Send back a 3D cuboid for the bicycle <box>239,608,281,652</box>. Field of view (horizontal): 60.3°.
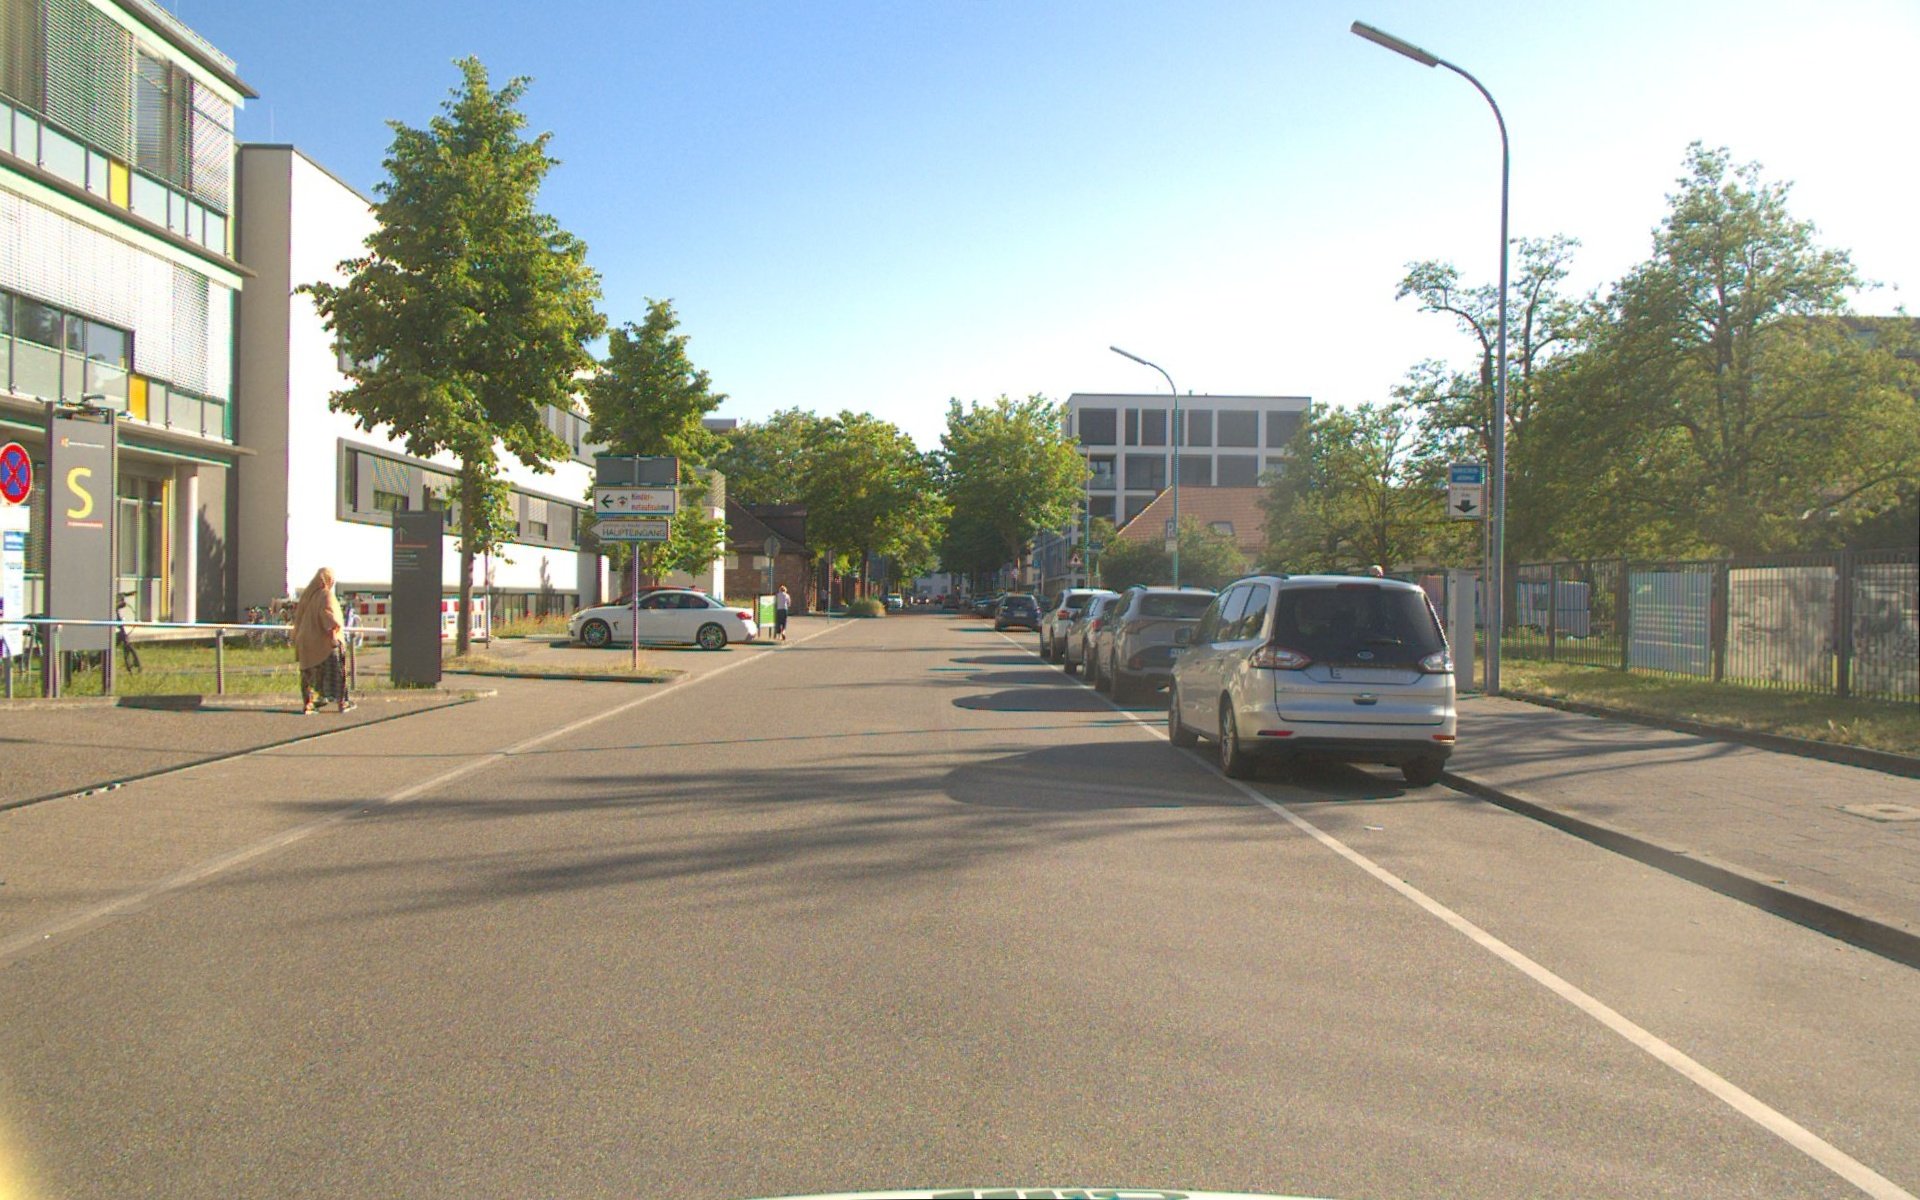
[{"bbox_3d":[-14.615,0.616,34.549,0.249,0.888,1.451,0,0,0],"label":"bicycle"}]

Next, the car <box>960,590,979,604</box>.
[{"bbox_3d":[0.955,-0.325,171.873,1.953,1.491,3.836,1,0,0],"label":"car"}]

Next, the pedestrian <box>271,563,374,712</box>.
[{"bbox_3d":[-7.037,0.404,18.286,0.757,1.576,0.780,2,0,2],"label":"pedestrian"}]

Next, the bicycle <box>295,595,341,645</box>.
[{"bbox_3d":[-13.264,0.405,34.186,0.387,1.006,1.451,0,0,0],"label":"bicycle"}]

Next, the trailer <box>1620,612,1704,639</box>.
[{"bbox_3d":[28.577,1.018,67.494,1.857,0.935,5.113,1,0,7],"label":"trailer"}]

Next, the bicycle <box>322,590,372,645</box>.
[{"bbox_3d":[-13.276,0.361,35.864,0.411,1.143,1.764,0,0,0],"label":"bicycle"}]

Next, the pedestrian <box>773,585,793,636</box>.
[{"bbox_3d":[-5.387,0.319,50.435,0.527,1.550,0.607,0,0,0],"label":"pedestrian"}]

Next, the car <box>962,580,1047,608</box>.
[{"bbox_3d":[2.428,-0.325,89.495,4.488,1.467,1.745,0,0,-37],"label":"car"}]

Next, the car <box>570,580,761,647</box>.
[{"bbox_3d":[-7.142,0.327,40.458,4.425,1.391,1.698,3,0,-6],"label":"car"}]

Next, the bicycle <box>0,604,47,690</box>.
[{"bbox_3d":[-11.733,0.543,19.447,1.681,0.991,0.536,0,0,-3],"label":"bicycle"}]

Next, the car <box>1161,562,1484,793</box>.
[{"bbox_3d":[3.126,0.585,15.300,1.772,1.752,4.703,2,0,-2],"label":"car"}]

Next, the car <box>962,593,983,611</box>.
[{"bbox_3d":[1.138,0.178,155.892,1.910,1.606,3.836,1,0,0],"label":"car"}]

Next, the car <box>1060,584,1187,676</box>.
[{"bbox_3d":[2.942,0.505,30.438,1.667,1.513,3.978,2,0,-4],"label":"car"}]

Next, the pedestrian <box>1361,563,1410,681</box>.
[{"bbox_3d":[6.365,0.325,24.754,0.511,1.738,0.522,2,-1,-3],"label":"pedestrian"}]

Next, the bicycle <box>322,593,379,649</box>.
[{"bbox_3d":[-12.706,0.418,34.531,0.523,1.131,1.861,0,0,-1],"label":"bicycle"}]

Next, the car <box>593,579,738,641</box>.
[{"bbox_3d":[-7.687,0.247,43.399,3.564,1.494,1.612,2,1,-5],"label":"car"}]

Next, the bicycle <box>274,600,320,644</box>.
[{"bbox_3d":[-13.718,0.456,34.261,0.361,0.878,1.451,0,0,0],"label":"bicycle"}]

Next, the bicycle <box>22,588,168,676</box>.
[{"bbox_3d":[-11.358,0.410,21.736,1.667,1.141,0.536,0,0,4],"label":"bicycle"}]

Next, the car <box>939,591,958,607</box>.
[{"bbox_3d":[-1.145,-0.112,163.219,1.731,1.575,4.064,0,0,-2],"label":"car"}]

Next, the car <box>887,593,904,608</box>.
[{"bbox_3d":[-6.503,0.044,166.756,1.731,1.513,3.998,0,0,-2],"label":"car"}]

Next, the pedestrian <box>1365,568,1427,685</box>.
[{"bbox_3d":[6.250,0.378,23.726,0.667,1.639,0.540,2,-1,-4],"label":"pedestrian"}]

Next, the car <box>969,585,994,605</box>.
[{"bbox_3d":[1.655,-0.398,126.923,1.731,1.465,3.998,0,0,-2],"label":"car"}]

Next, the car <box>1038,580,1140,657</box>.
[{"bbox_3d":[2.909,0.385,38.153,1.777,1.616,4.260,2,0,-3],"label":"car"}]

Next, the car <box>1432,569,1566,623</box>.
[{"bbox_3d":[23.195,-0.195,71.340,5.173,2.240,2.002,1,1,5],"label":"car"}]

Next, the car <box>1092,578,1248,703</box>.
[{"bbox_3d":[3.020,0.524,24.579,1.666,1.634,4.352,2,0,-1],"label":"car"}]

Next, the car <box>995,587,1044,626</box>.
[{"bbox_3d":[2.335,0.233,65.809,1.780,1.478,4.214,0,1,0],"label":"car"}]
